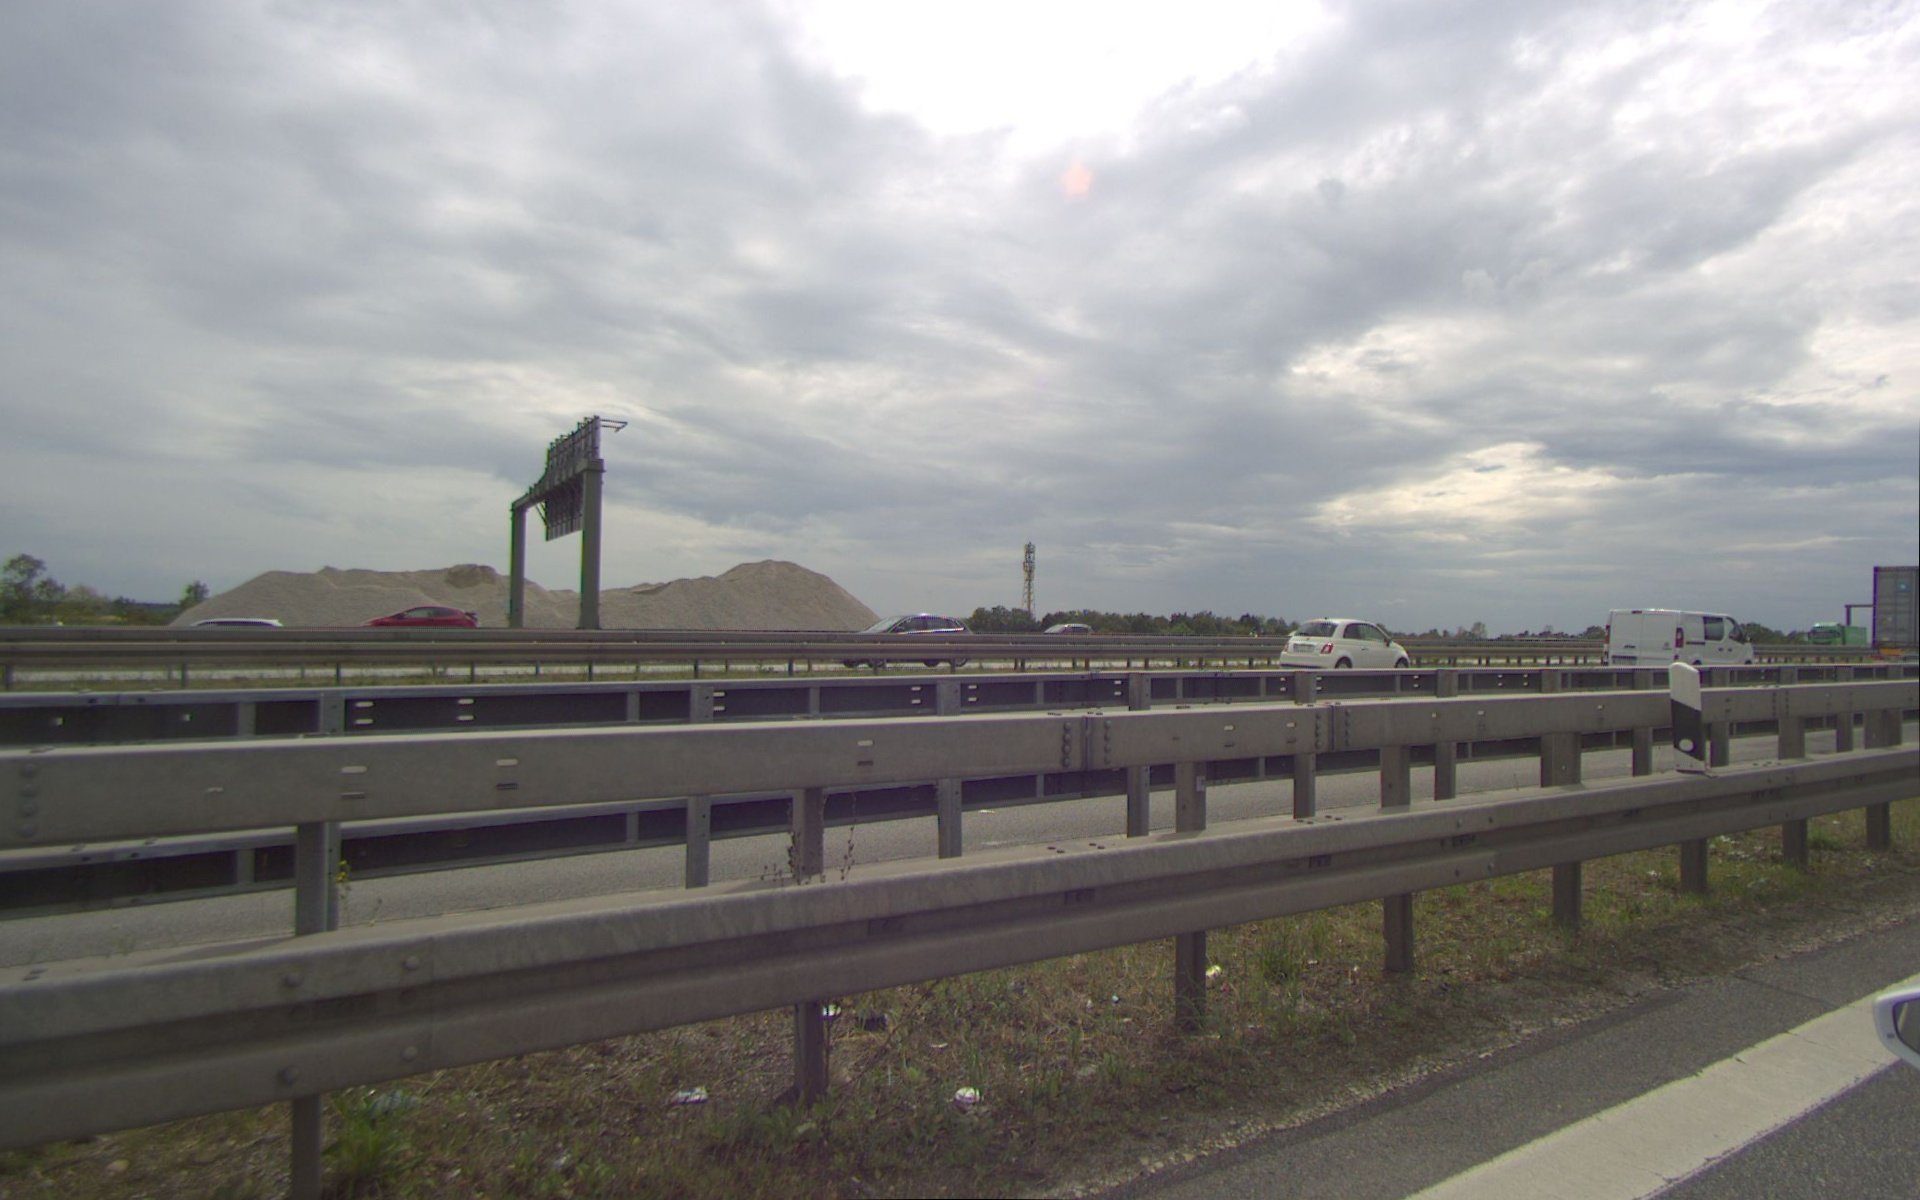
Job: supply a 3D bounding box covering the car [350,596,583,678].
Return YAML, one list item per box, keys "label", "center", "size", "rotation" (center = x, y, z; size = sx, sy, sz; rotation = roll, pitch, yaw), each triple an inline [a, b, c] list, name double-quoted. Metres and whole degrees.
- label: "car"
  center: [-11.274, 0.829, 23.031]
  size: [4.585, 1.684, 1.982]
  rotation: [2, 0, -33]

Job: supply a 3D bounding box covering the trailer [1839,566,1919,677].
- label: "trailer"
  center: [39.232, 0.931, 39.889]
  size: [12.247, 3.976, 3.217]
  rotation: [2, 0, -33]

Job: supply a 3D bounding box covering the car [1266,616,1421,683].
- label: "car"
  center: [9.263, 1.184, 24.204]
  size: [3.736, 1.504, 1.670]
  rotation: [2, -3, -34]

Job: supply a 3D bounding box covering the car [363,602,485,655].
- label: "car"
  center: [-20.472, 1.099, 38.403]
  size: [3.957, 1.873, 1.982]
  rotation: [2, 0, -33]

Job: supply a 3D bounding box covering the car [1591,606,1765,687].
- label: "car"
  center: [19.140, 1.213, 26.707]
  size: [5.075, 1.963, 1.989]
  rotation: [2, -1, -32]

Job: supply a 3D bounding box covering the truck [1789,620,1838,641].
- label: "truck"
  center: [100.485, 3.625, 118.244]
  size: [6.350, 2.266, 2.346]
  rotation: [2, 0, -31]

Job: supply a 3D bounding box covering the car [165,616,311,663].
- label: "car"
  center: [-25.328, 1.382, 35.421]
  size: [3.954, 1.506, 1.983]
  rotation: [2, 0, -31]

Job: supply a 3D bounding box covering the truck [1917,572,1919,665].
- label: "truck"
  center: [44.676, 0.898, 43.432]
  size: [6.537, 3.964, 3.229]
  rotation: [2, 0, -32]
